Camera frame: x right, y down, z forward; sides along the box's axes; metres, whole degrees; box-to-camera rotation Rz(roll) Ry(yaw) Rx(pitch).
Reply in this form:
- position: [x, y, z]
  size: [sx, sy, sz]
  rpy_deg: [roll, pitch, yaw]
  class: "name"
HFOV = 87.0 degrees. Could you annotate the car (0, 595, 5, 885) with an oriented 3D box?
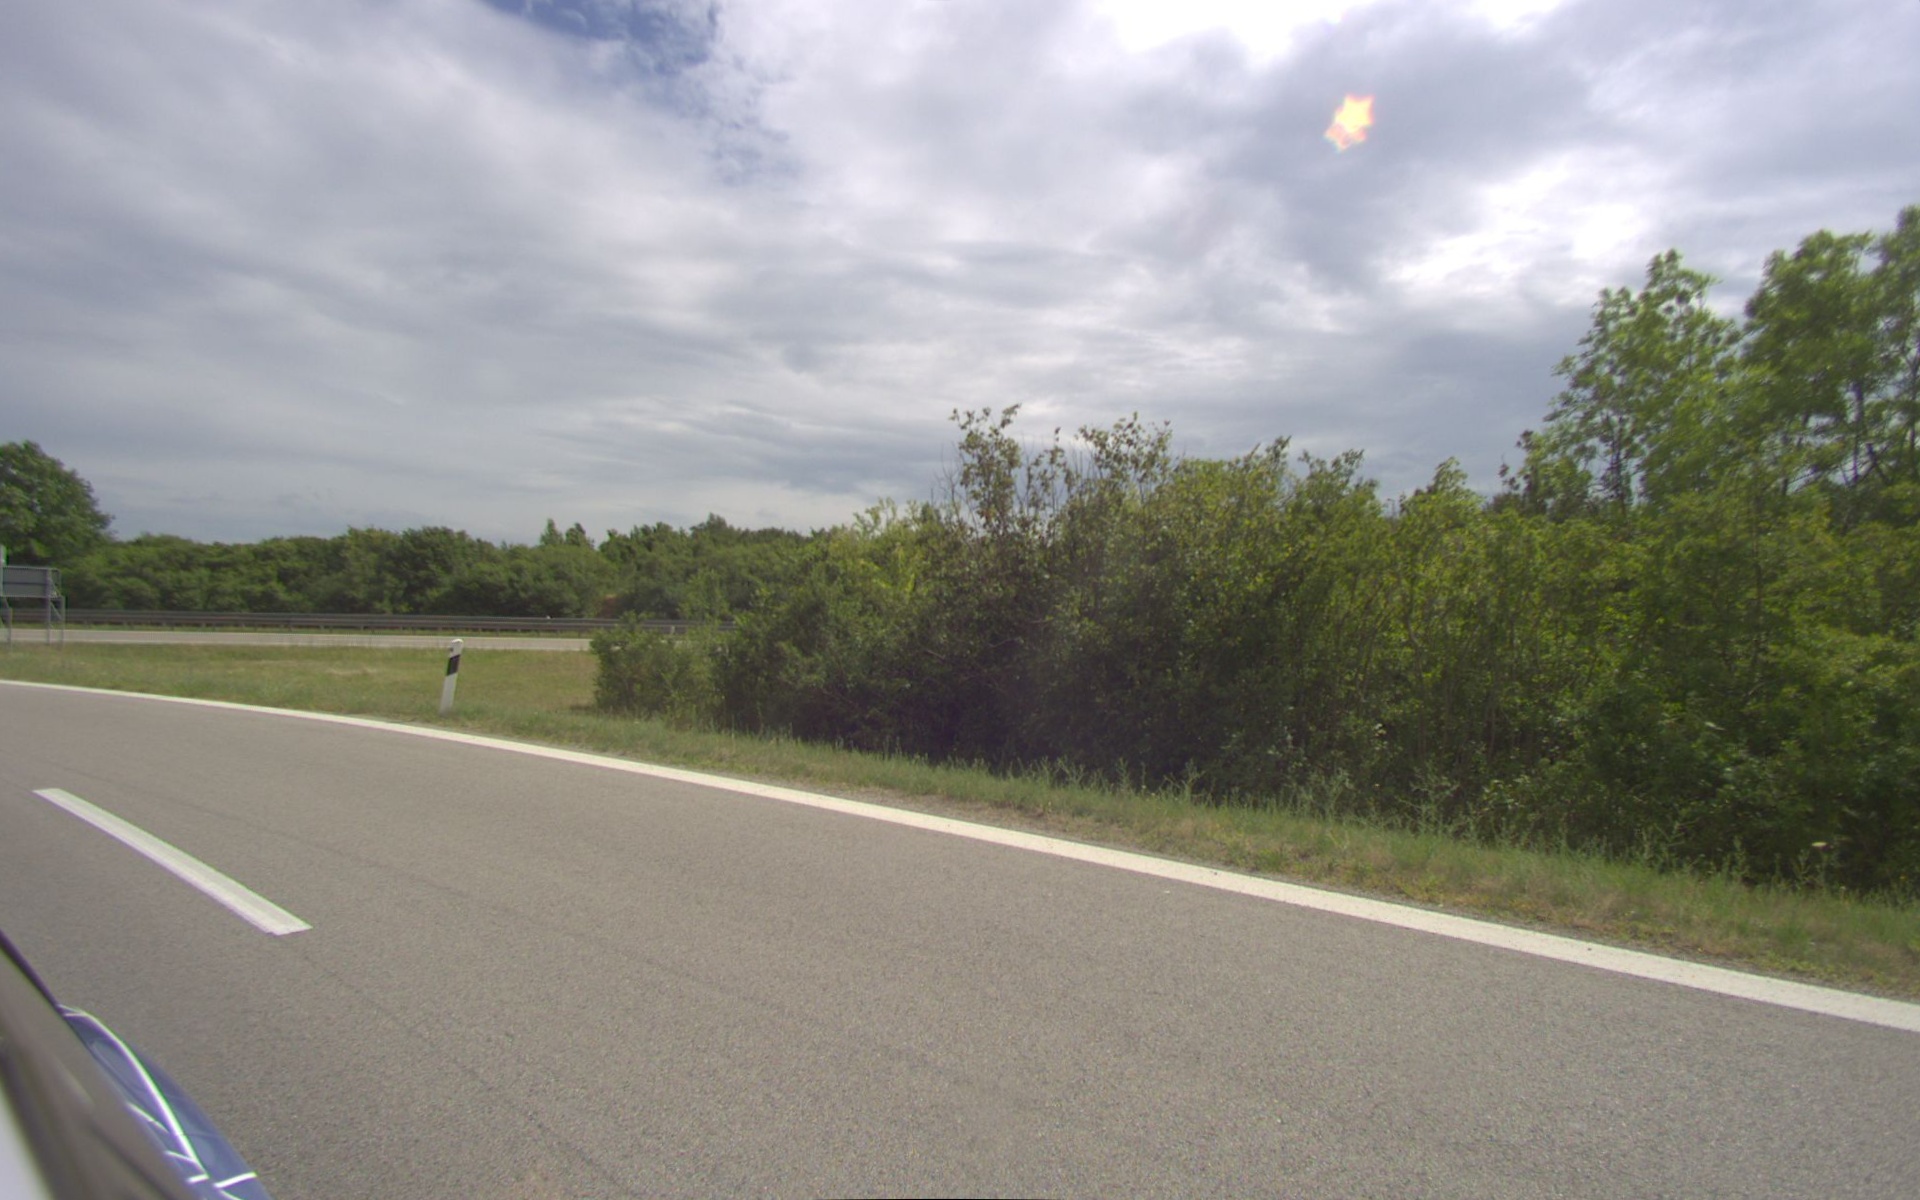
- position: [-7.420, 0.752, 5.906]
  size: [4.531, 1.526, 1.975]
  rpy_deg: [0, 0, 37]
  class: "car"
